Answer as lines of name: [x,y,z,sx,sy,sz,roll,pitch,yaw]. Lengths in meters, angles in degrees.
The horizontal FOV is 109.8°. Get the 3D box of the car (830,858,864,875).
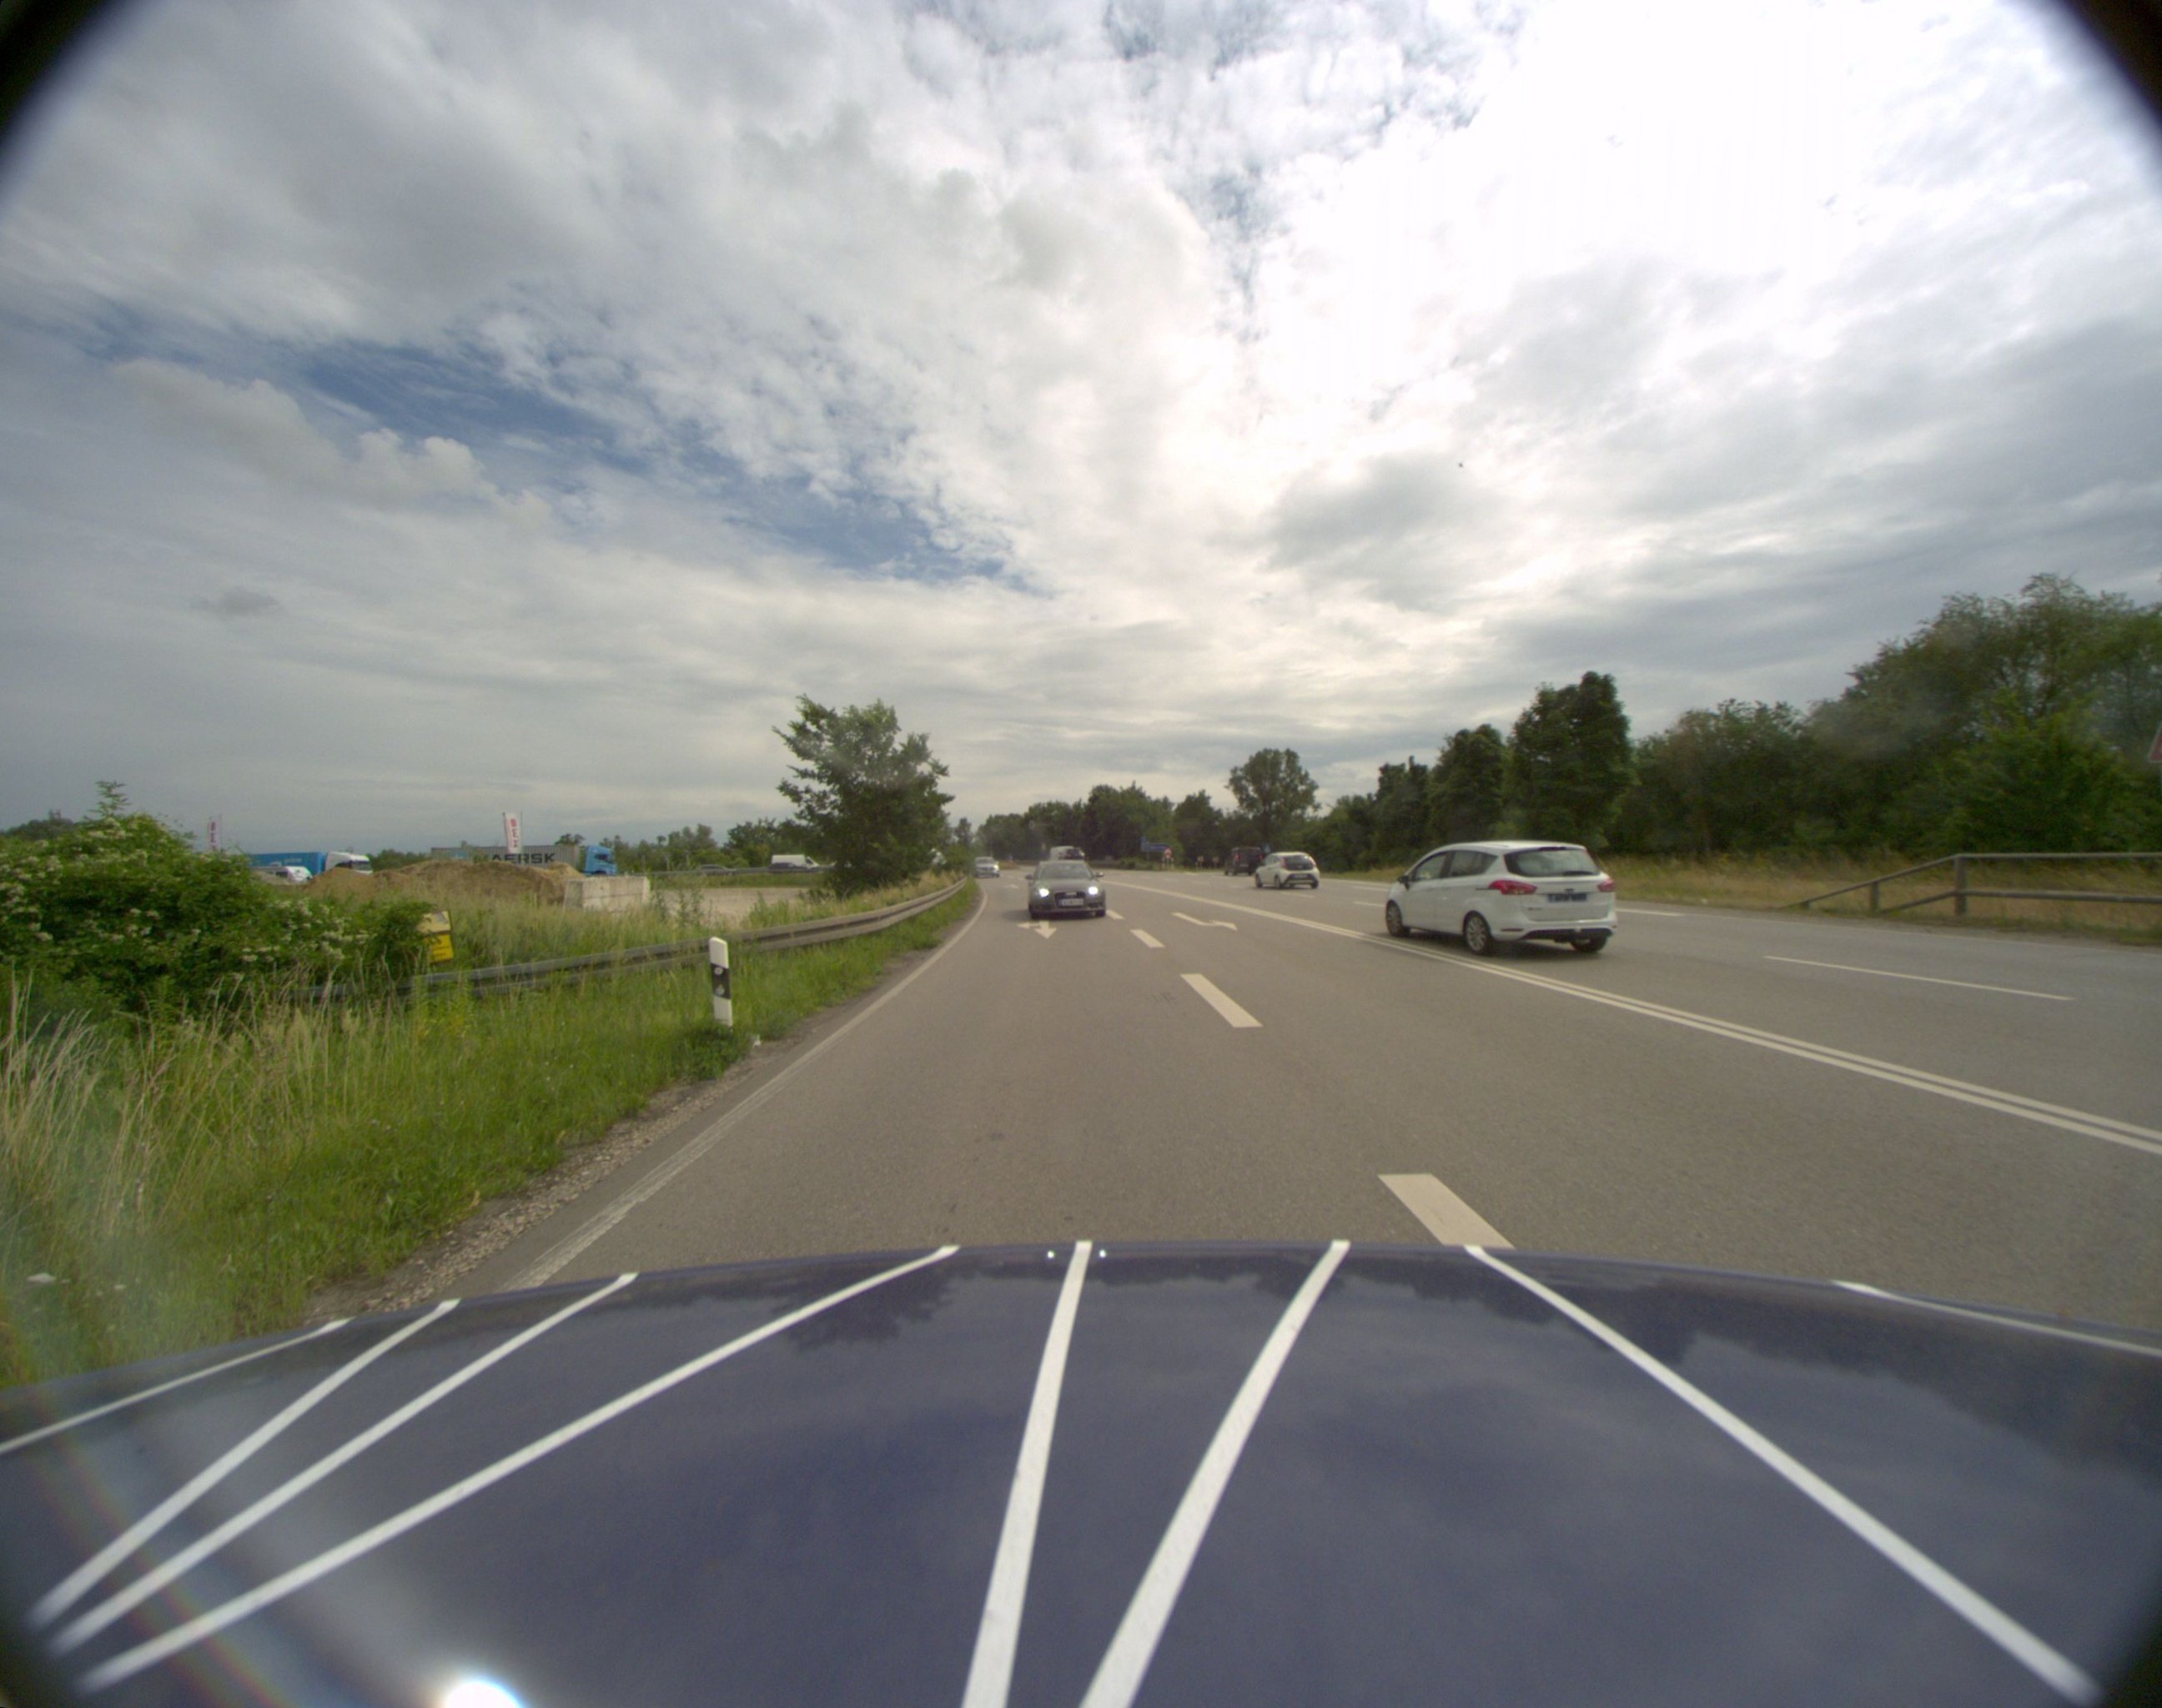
car: [-29.926,1.641,97.088,4.003,2.002,1.997,-2,0,-19]

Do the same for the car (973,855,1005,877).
car: [-7.479,0.963,61.375,2.023,1.603,4.275,-2,0,-14]

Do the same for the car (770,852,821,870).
car: [-36.548,0.918,97.305,5.903,2.002,2.058,-2,0,-22]

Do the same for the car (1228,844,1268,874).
car: [10.676,0.327,48.859,1.997,1.786,4.322,-2,0,7]

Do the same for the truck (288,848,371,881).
truck: [-76.653,1.105,77.583,5.982,3.036,2.392,-3,0,0]

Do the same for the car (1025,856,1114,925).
car: [-0.423,0.884,20.136,1.958,1.527,3.998,-3,0,-6]

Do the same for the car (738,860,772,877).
car: [-42.556,1.885,99.194,4.004,2.002,1.928,-2,0,-22]

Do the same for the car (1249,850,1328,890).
car: [8.386,0.618,30.973,1.882,1.480,3.742,-2,0,-5]

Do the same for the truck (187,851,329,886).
truck: [-83.896,1.455,77.577,11.750,3.036,2.392,-3,0,0]

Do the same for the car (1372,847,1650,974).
car: [6.053,0.687,11.328,1.735,1.509,3.999,-2,0,-2]

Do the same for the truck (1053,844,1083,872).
truck: [-1.247,0.375,72.047,2.030,2.430,5.020,-2,0,-10]

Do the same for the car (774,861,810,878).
car: [-34.231,1.830,90.018,4.004,2.001,1.928,-1,-1,-22]

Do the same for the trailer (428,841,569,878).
trailer: [-60.073,0.506,78.686,11.241,3.290,2.388,-3,0,-20]

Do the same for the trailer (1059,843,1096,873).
trailer: [-0.371,0.344,67.086,2.030,2.430,6.959,-2,0,-10]

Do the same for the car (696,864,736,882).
car: [-41.942,2.210,87.403,4.004,2.001,1.928,-1,-1,-22]

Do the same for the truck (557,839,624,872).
truck: [-52.607,0.177,81.678,5.603,3.285,2.387,-3,0,-25]
